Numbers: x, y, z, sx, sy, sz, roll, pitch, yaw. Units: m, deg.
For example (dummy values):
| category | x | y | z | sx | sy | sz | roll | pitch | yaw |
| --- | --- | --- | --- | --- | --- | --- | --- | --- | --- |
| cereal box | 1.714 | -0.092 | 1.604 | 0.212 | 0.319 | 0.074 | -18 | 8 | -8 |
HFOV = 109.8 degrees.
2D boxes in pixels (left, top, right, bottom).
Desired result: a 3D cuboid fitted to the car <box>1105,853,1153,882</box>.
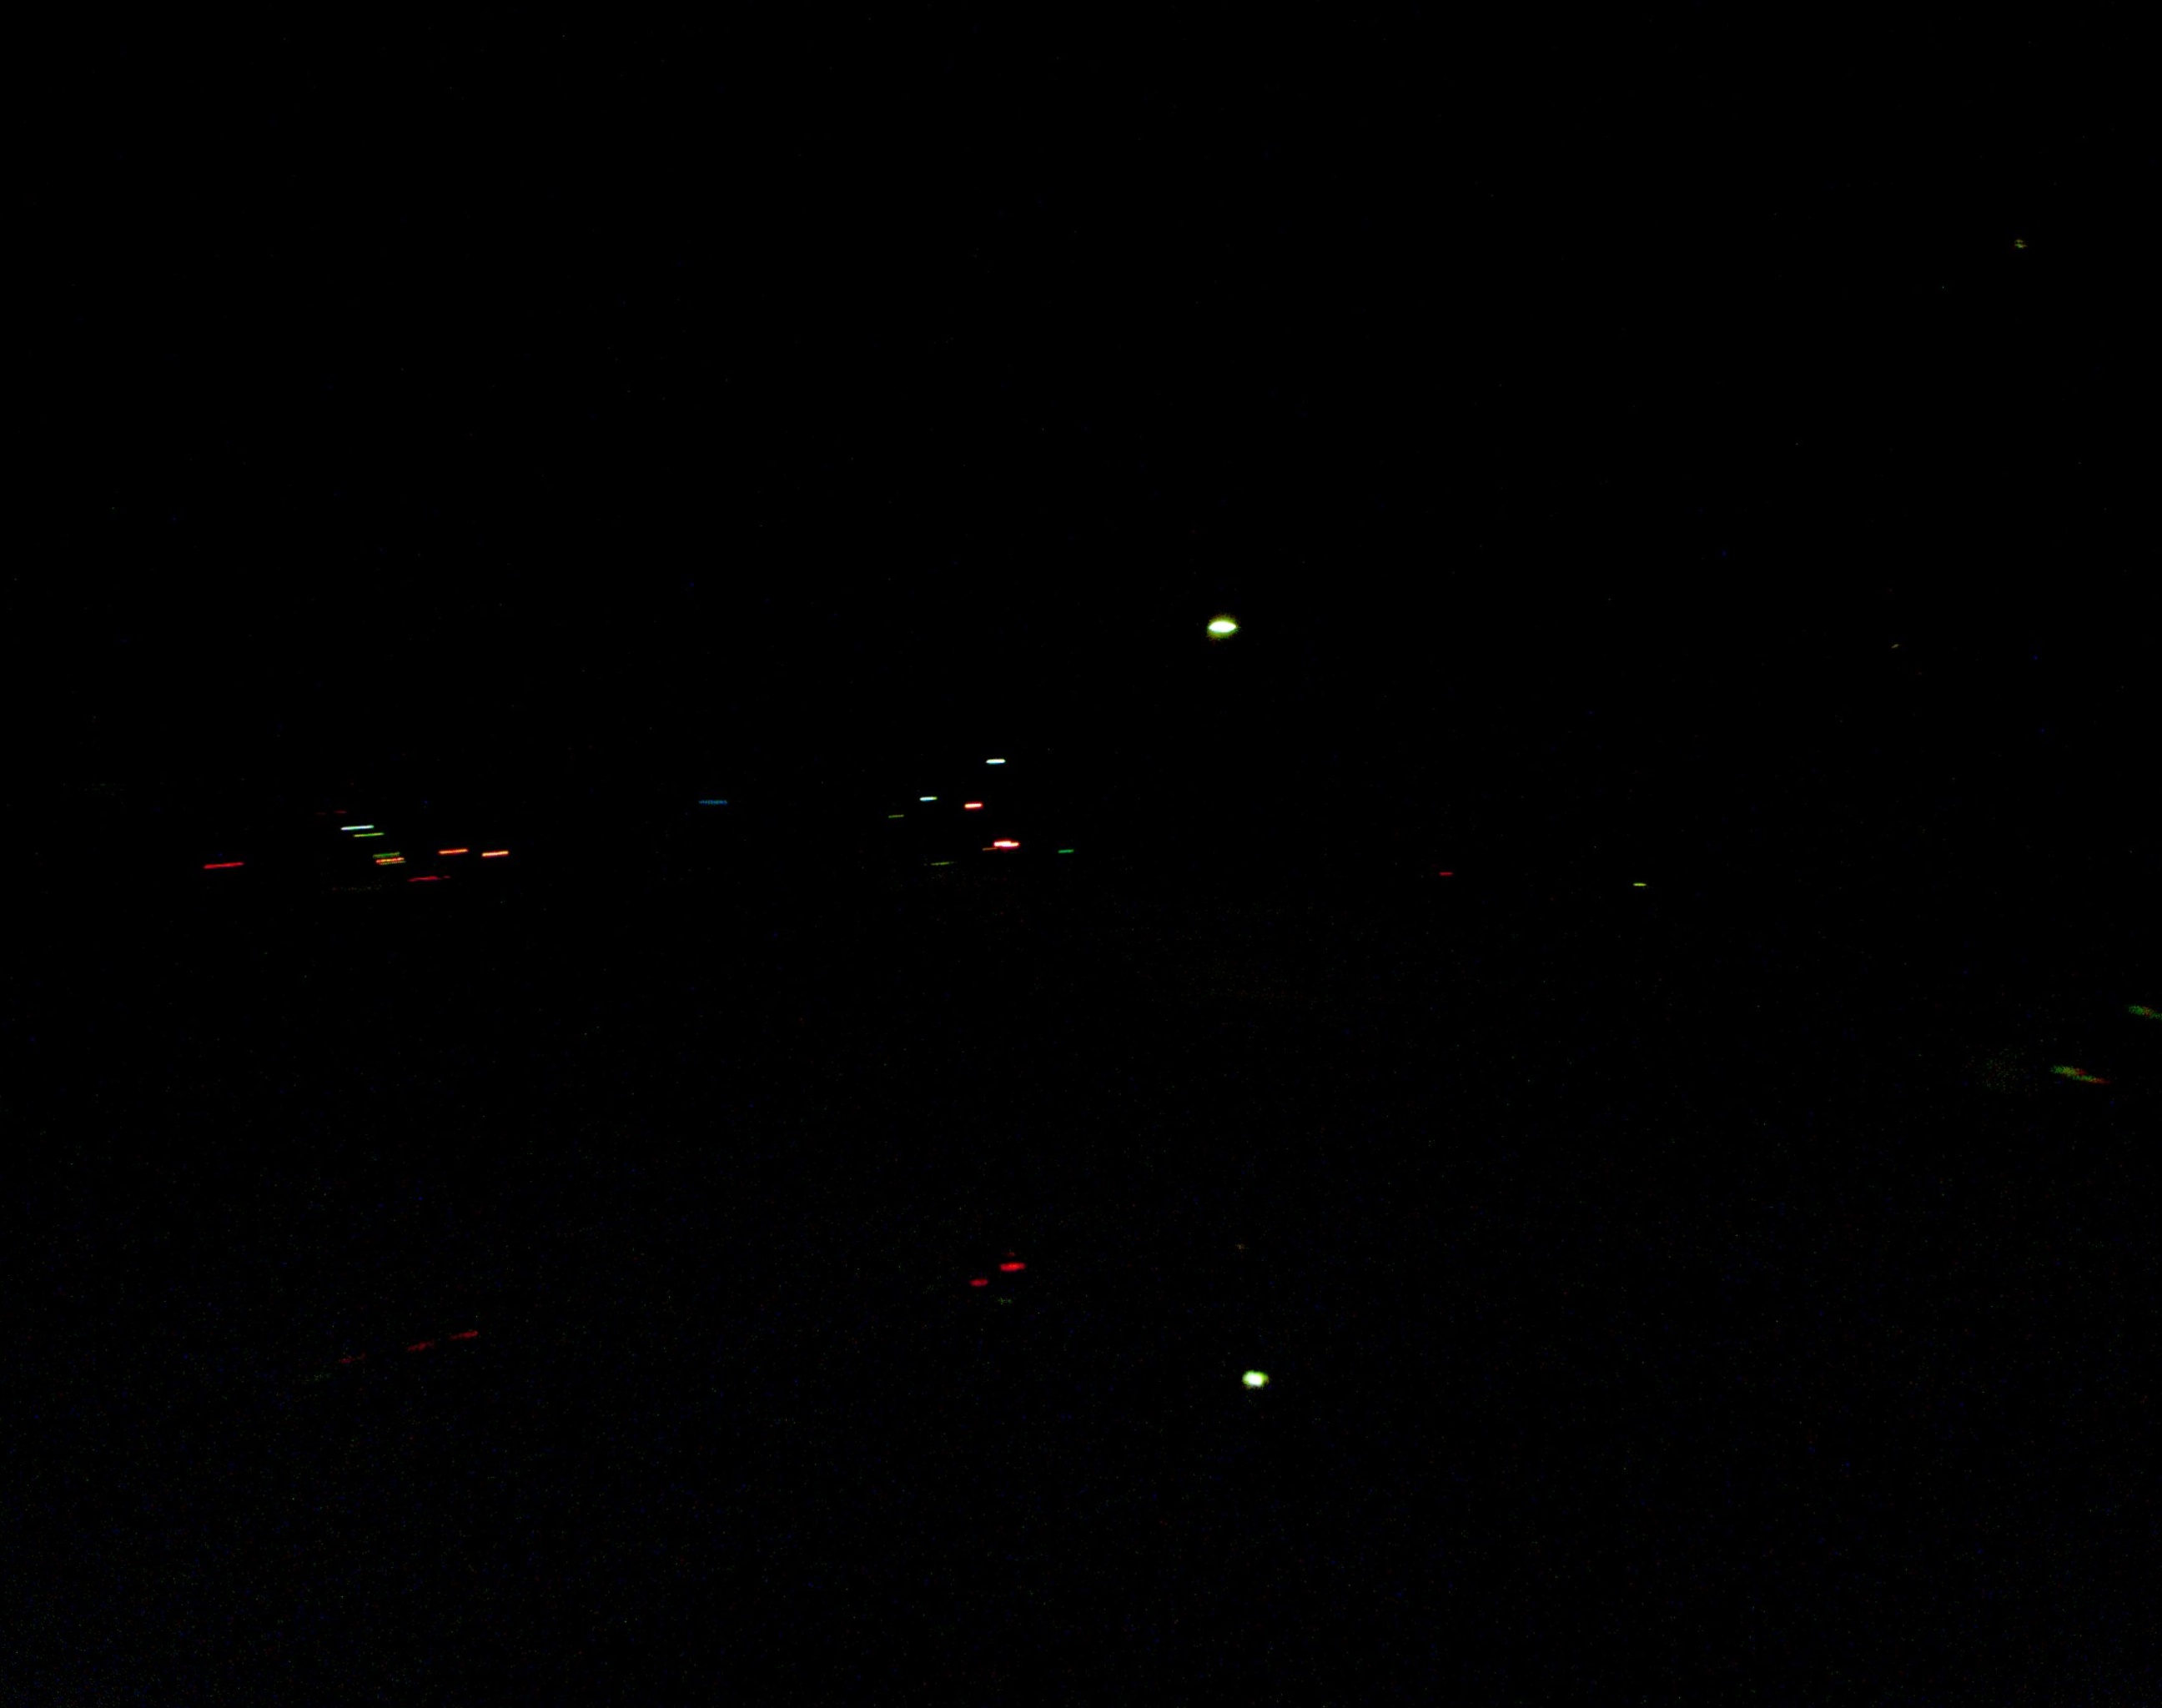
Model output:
| category | x | y | z | sx | sy | sz | roll | pitch | yaw |
| --- | --- | --- | --- | --- | --- | --- | --- | --- | --- |
| car | 2.520 | 0.682 | 40.759 | 1.634 | 1.455 | 3.510 | -2 | 0 | -12 |

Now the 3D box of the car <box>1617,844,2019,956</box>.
| category | x | y | z | sx | sy | sz | roll | pitch | yaw |
| --- | --- | --- | --- | --- | --- | --- | --- | --- | --- |
| car | 11.788 | 0.627 | 12.625 | 1.868 | 1.425 | 4.396 | -4 | 1 | -21 |

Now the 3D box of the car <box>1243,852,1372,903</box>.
| category | x | y | z | sx | sy | sz | roll | pitch | yaw |
| --- | --- | --- | --- | --- | --- | --- | --- | --- | --- |
| car | 7.331 | 0.723 | 25.031 | 1.645 | 1.425 | 4.342 | -5 | 1 | -22 |

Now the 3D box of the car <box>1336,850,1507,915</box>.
| category | x | y | z | sx | sy | sz | roll | pitch | yaw |
| --- | --- | --- | --- | --- | --- | --- | --- | --- | --- |
| car | 8.922 | 0.679 | 20.352 | 1.557 | 1.425 | 4.340 | -5 | 1 | -19 |
